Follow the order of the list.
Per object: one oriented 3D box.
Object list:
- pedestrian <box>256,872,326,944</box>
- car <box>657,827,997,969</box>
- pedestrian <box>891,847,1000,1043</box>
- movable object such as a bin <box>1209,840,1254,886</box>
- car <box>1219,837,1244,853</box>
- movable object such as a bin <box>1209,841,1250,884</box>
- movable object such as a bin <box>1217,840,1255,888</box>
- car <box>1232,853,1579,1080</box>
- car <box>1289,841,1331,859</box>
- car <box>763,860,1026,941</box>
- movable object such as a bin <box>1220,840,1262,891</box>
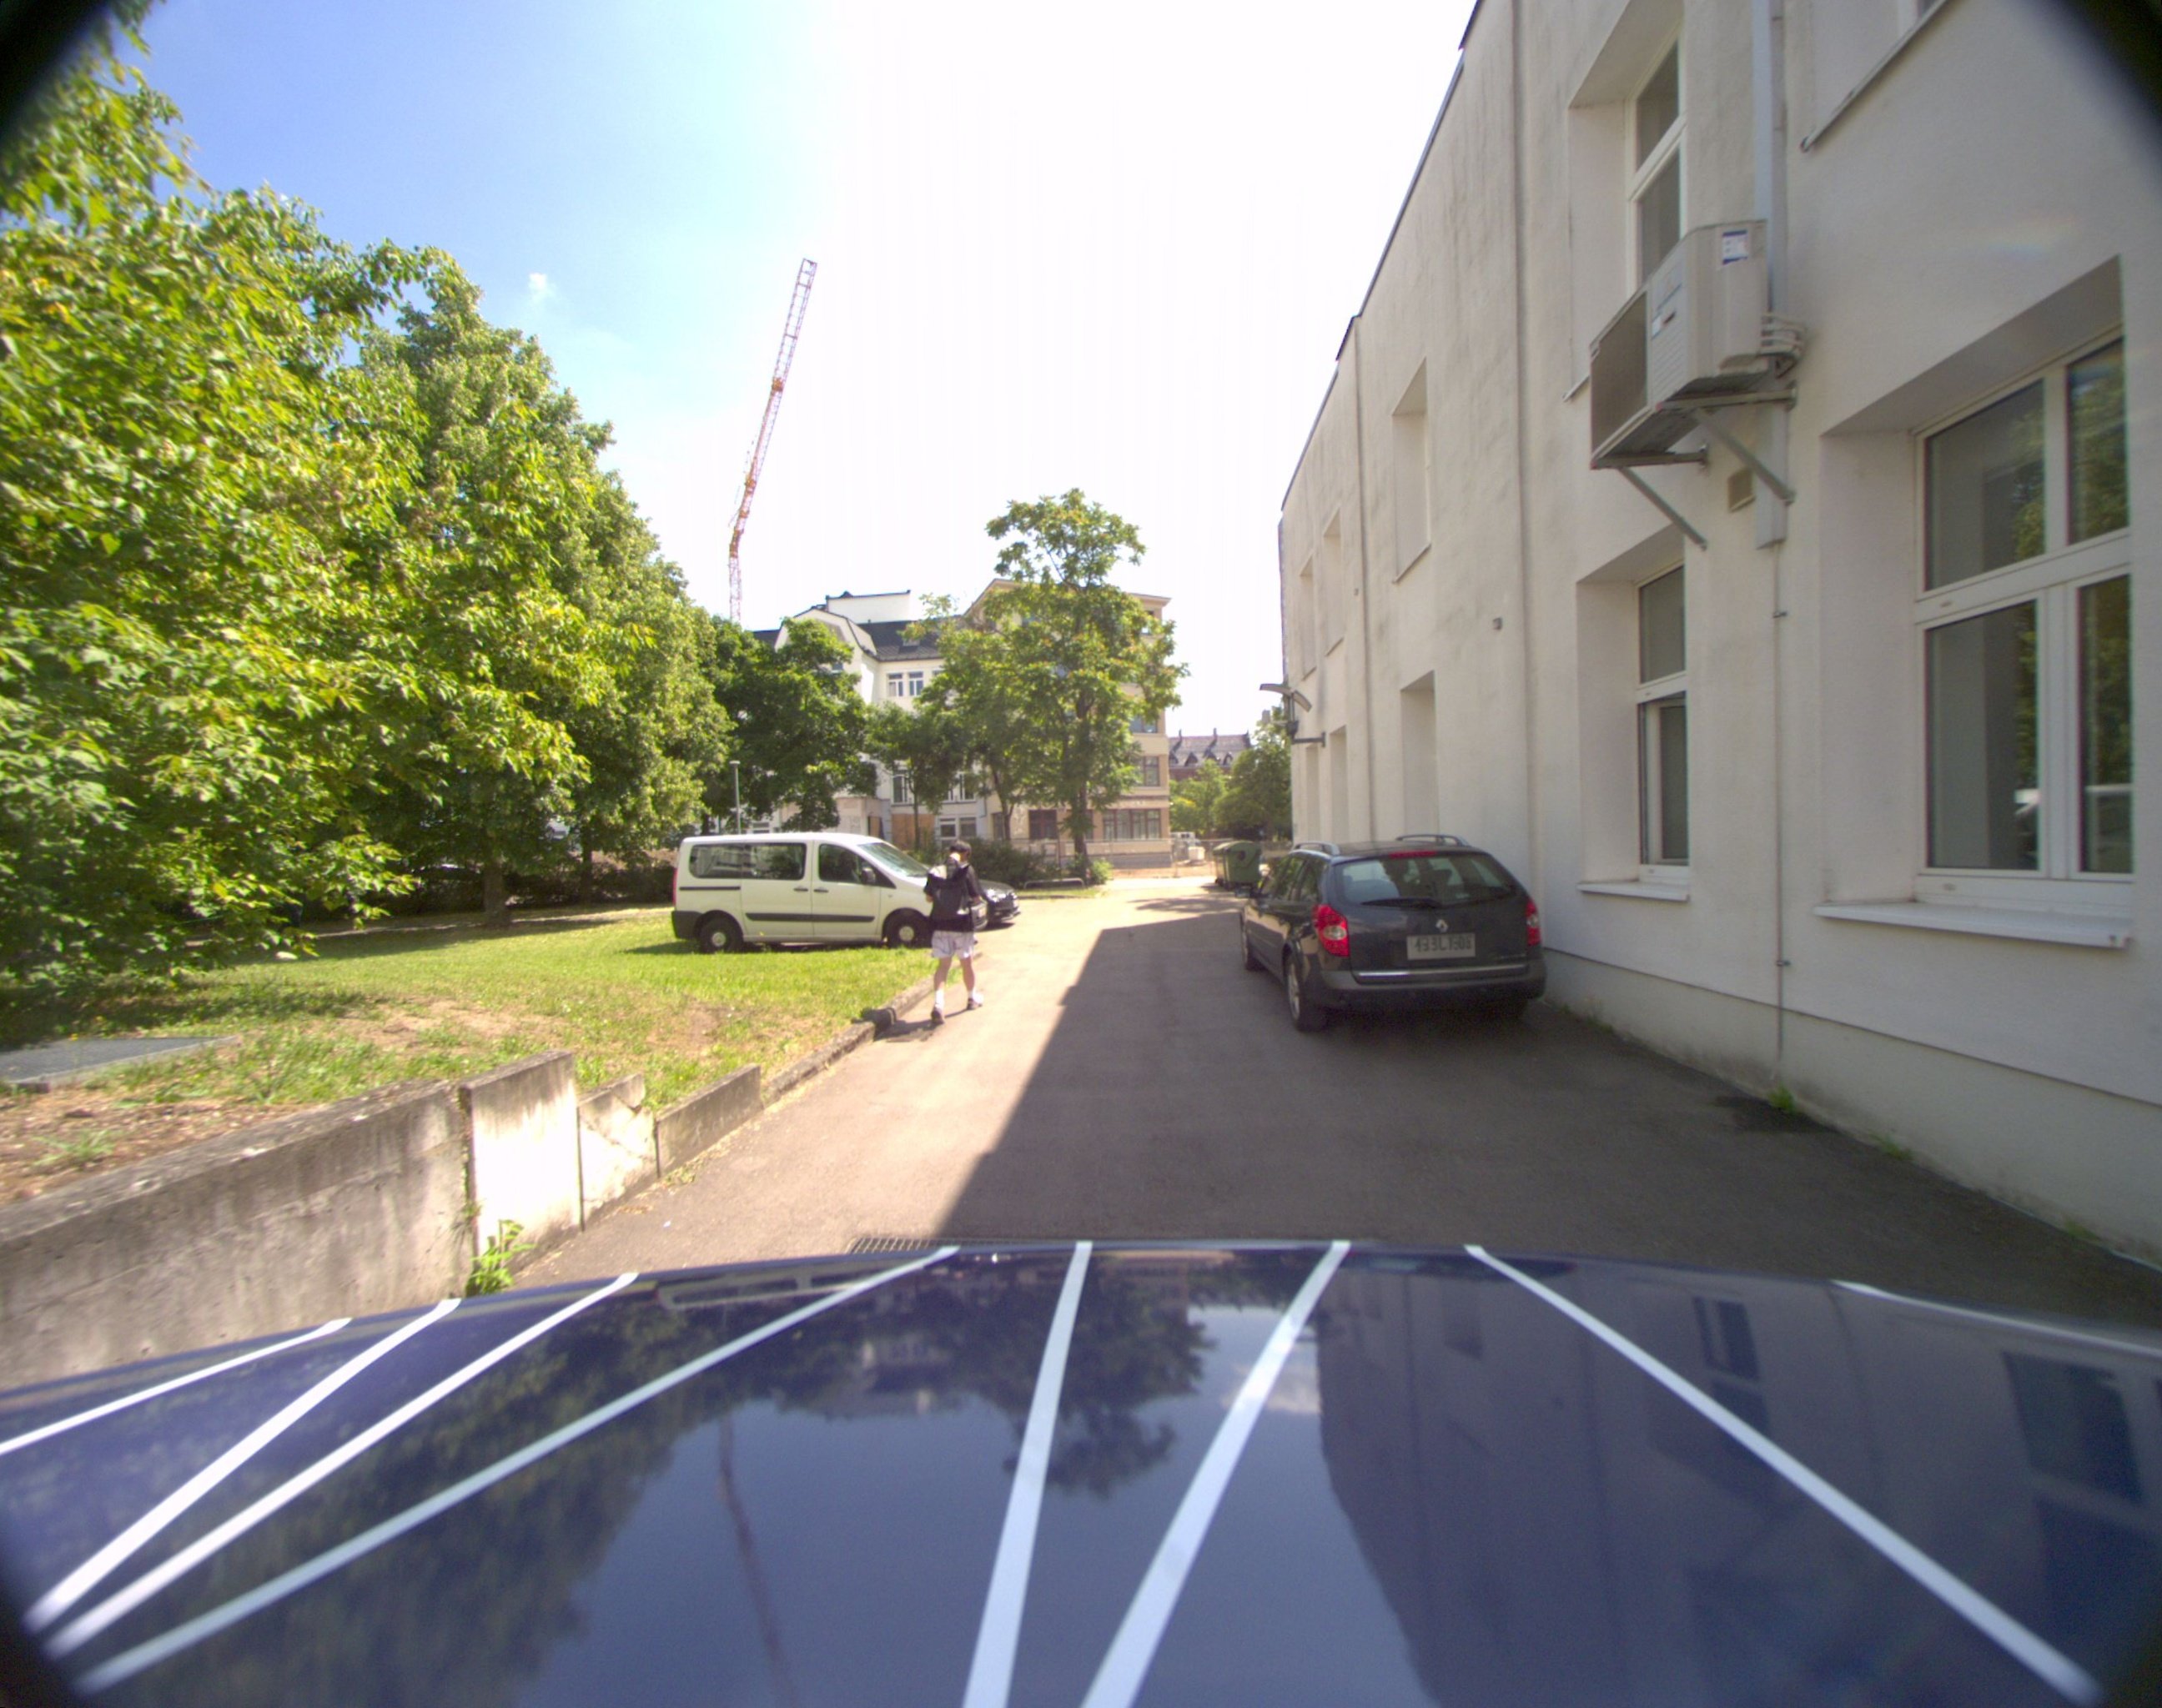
[{"bbox_3d":[-18.058,1.221,17.389,0.750,1.555,0.741,-2,1,-5],"label":"pedestrian"},{"bbox_3d":[-3.955,0.654,12.371,4.769,2.002,2.000,-2,2,5],"label":"car"},{"bbox_3d":[-1.260,0.825,7.202,0.758,1.745,0.752,-2,1,6],"label":"pedestrian"},{"bbox_3d":[5.031,0.294,25.478,1.096,1.471,1.359,-2,1,-5],"label":"movable object such as a bin"},{"bbox_3d":[20.705,-1.280,104.331,1.995,2.002,4.007,-1,1,32],"label":"car"},{"bbox_3d":[5.220,0.280,26.822,1.207,1.471,1.325,-1,1,2],"label":"movable object such as a bin"},{"bbox_3d":[4.894,0.307,24.095,1.046,1.471,1.262,-1,1,5],"label":"movable object such as a bin"},{"bbox_3d":[2.535,0.746,7.142,1.758,1.421,4.388,-2,0,6],"label":"car"},{"bbox_3d":[19.457,-0.369,64.677,1.624,1.431,3.577,-2,1,-19],"label":"car"},{"bbox_3d":[-3.529,0.869,14.922,4.621,1.344,1.834,-2,1,5],"label":"car"},{"bbox_3d":[4.729,0.321,22.611,1.046,1.471,1.410,-1,1,5],"label":"movable object such as a bin"}]
